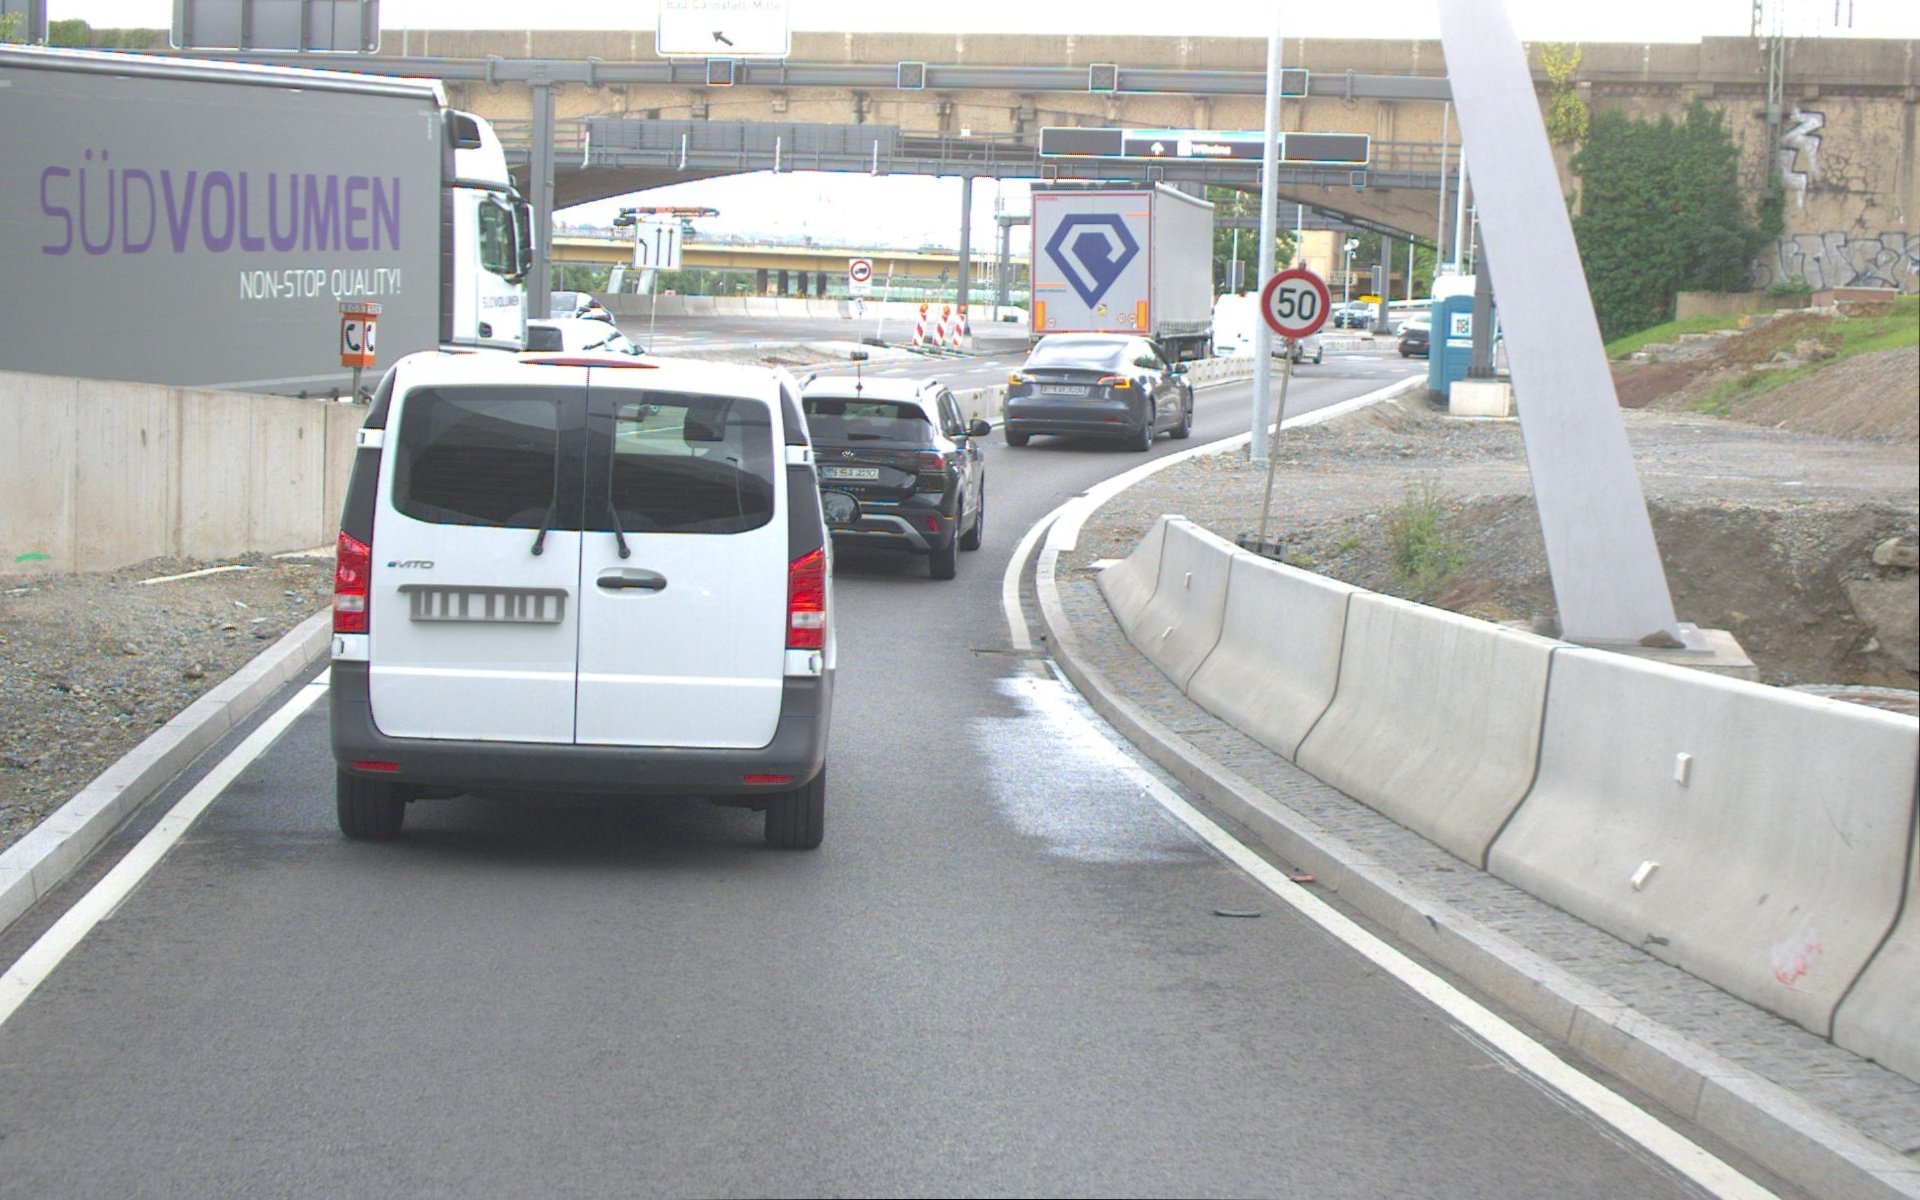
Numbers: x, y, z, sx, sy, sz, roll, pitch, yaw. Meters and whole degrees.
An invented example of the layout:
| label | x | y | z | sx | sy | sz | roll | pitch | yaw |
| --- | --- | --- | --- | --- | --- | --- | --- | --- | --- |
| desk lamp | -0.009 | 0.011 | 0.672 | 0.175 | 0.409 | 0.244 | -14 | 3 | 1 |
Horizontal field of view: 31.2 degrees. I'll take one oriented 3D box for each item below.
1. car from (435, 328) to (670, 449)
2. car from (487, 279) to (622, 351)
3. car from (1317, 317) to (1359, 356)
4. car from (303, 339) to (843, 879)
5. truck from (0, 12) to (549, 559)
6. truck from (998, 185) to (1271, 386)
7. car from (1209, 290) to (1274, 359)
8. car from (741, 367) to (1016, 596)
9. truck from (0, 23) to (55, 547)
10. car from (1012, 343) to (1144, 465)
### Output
| label | x | y | z | sx | sy | sz | roll | pitch | yaw |
| --- | --- | --- | --- | --- | --- | --- | --- | --- | --- |
| car | -5.757 | -2.990 | 49.057 | 1.995 | 1.546 | 3.998 | 4 | 3 | 13 |
| car | -9.468 | -6.669 | 80.613 | 1.820 | 1.448 | 3.998 | 4 | 3 | 13 |
| car | 17.082 | -11.894 | 155.499 | 1.624 | 1.579 | 4.000 | 4 | 3 | 3 |
| car | -1.511 | -0.088 | 14.595 | 1.876 | 1.884 | 4.754 | 1 | 3 | -3 |
| truck | -7.438 | -2.917 | 30.822 | 2.990 | 4.160 | 11.235 | 4 | 7 | 17 |
| truck | 4.206 | -6.976 | 76.925 | 3.319 | 3.795 | 16.589 | 5 | 6 | 11 |
| car | 9.541 | -9.311 | 116.444 | 1.898 | 2.108 | 4.485 | 4 | 3 | 6 |
| car | -0.623 | -1.070 | 29.120 | 1.750 | 1.619 | 3.845 | 4 | 5 | 6 |
| truck | -10.106 | -2.165 | 22.597 | 2.920 | 4.002 | 10.194 | 4 | 6 | 18 |
| car | 1.544 | -2.496 | 44.155 | 1.501 | 1.464 | 3.399 | 2 | 3 | 4 |
